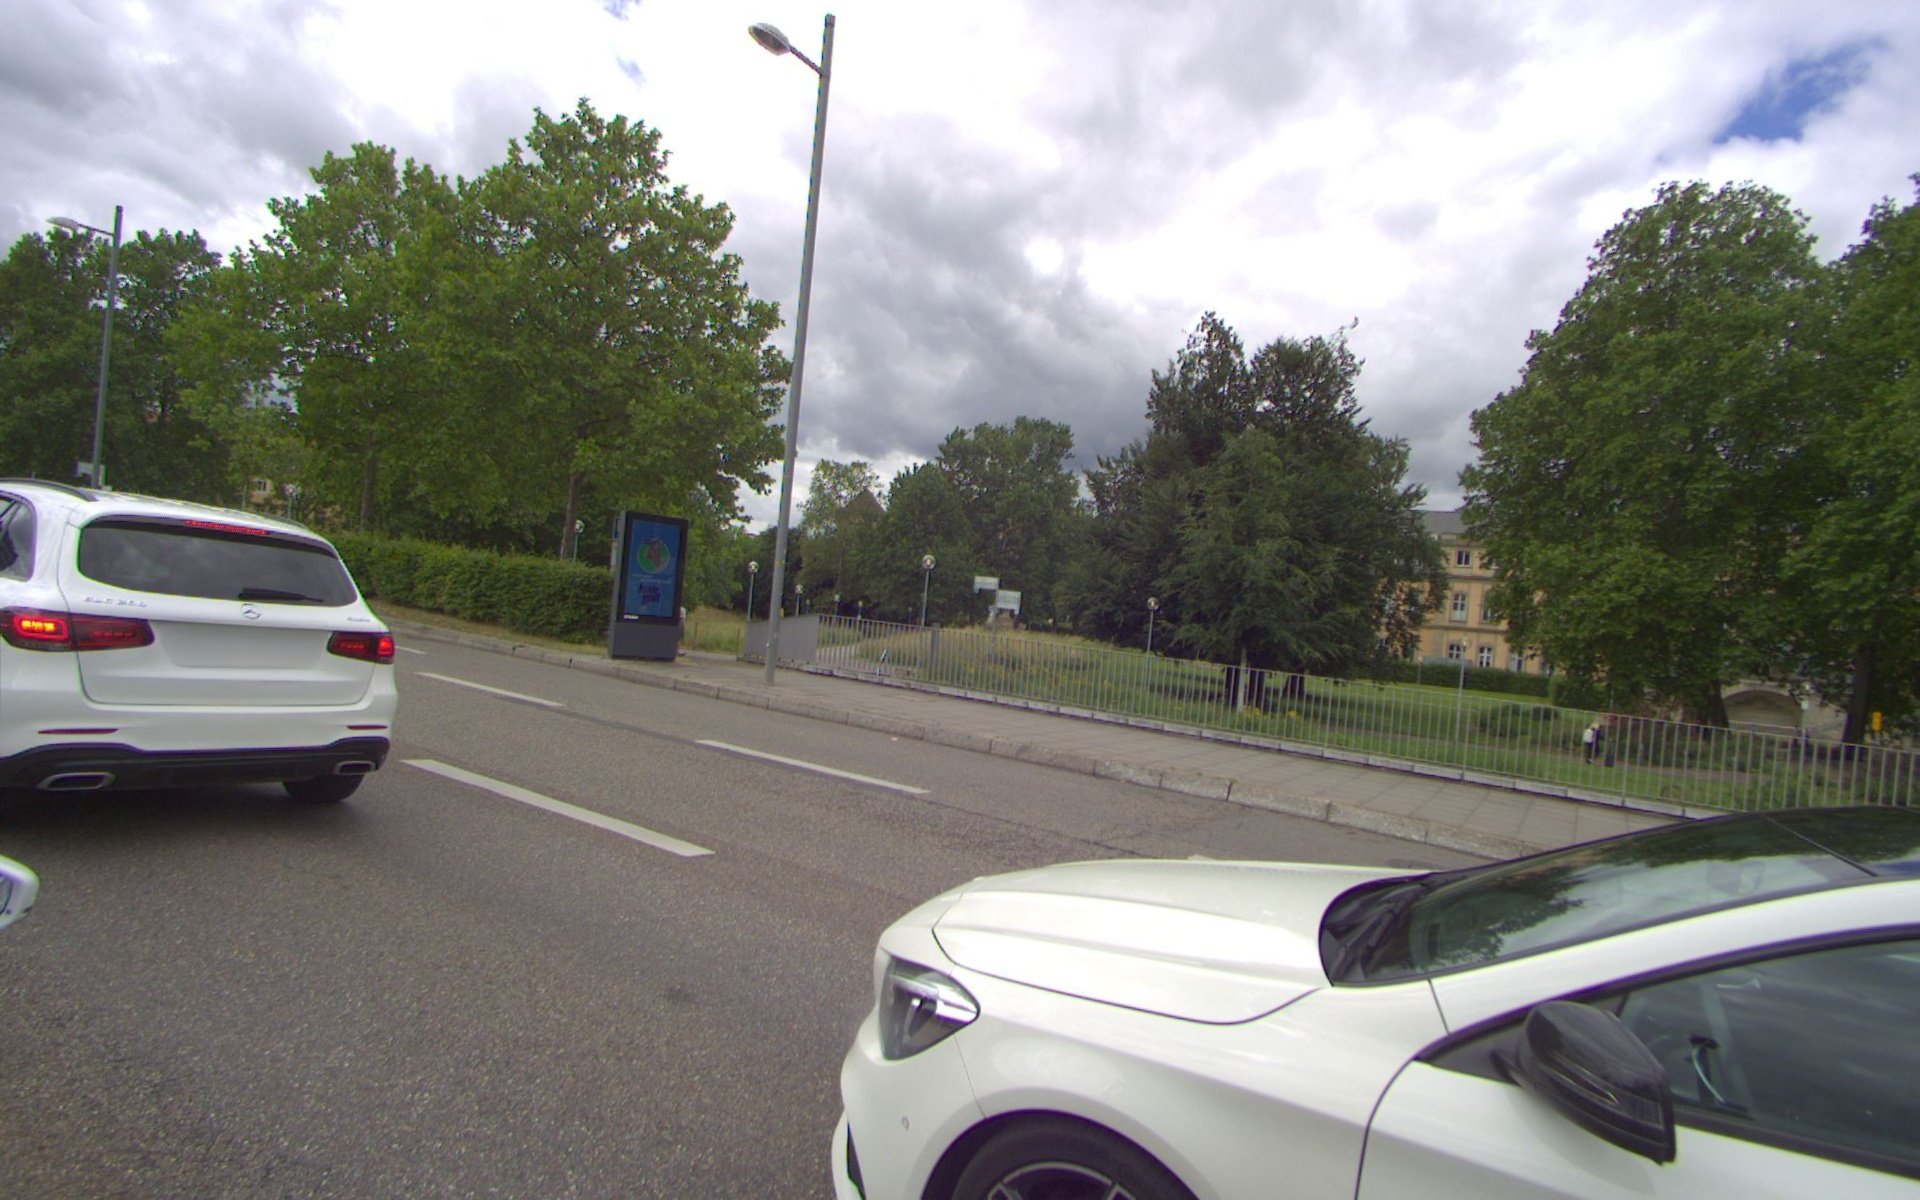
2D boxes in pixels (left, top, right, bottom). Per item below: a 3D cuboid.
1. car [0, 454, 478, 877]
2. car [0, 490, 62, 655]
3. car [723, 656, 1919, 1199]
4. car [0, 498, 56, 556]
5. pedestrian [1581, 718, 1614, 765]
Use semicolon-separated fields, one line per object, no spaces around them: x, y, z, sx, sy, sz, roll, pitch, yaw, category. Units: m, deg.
-5.105;0.133;5.944;4.416;1.673;1.929;7;-1;33;car
-11.398;-0.502;10.425;4.417;1.569;1.929;6;-2;33;car
1.840;1.096;1.842;4.454;1.436;1.796;5;-2;33;car
-29.107;-2.294;30.209;4.458;1.476;1.933;5;-3;36;car
23.756;5.280;37.488;0.645;1.619;0.684;6;-2;-1;pedestrian
